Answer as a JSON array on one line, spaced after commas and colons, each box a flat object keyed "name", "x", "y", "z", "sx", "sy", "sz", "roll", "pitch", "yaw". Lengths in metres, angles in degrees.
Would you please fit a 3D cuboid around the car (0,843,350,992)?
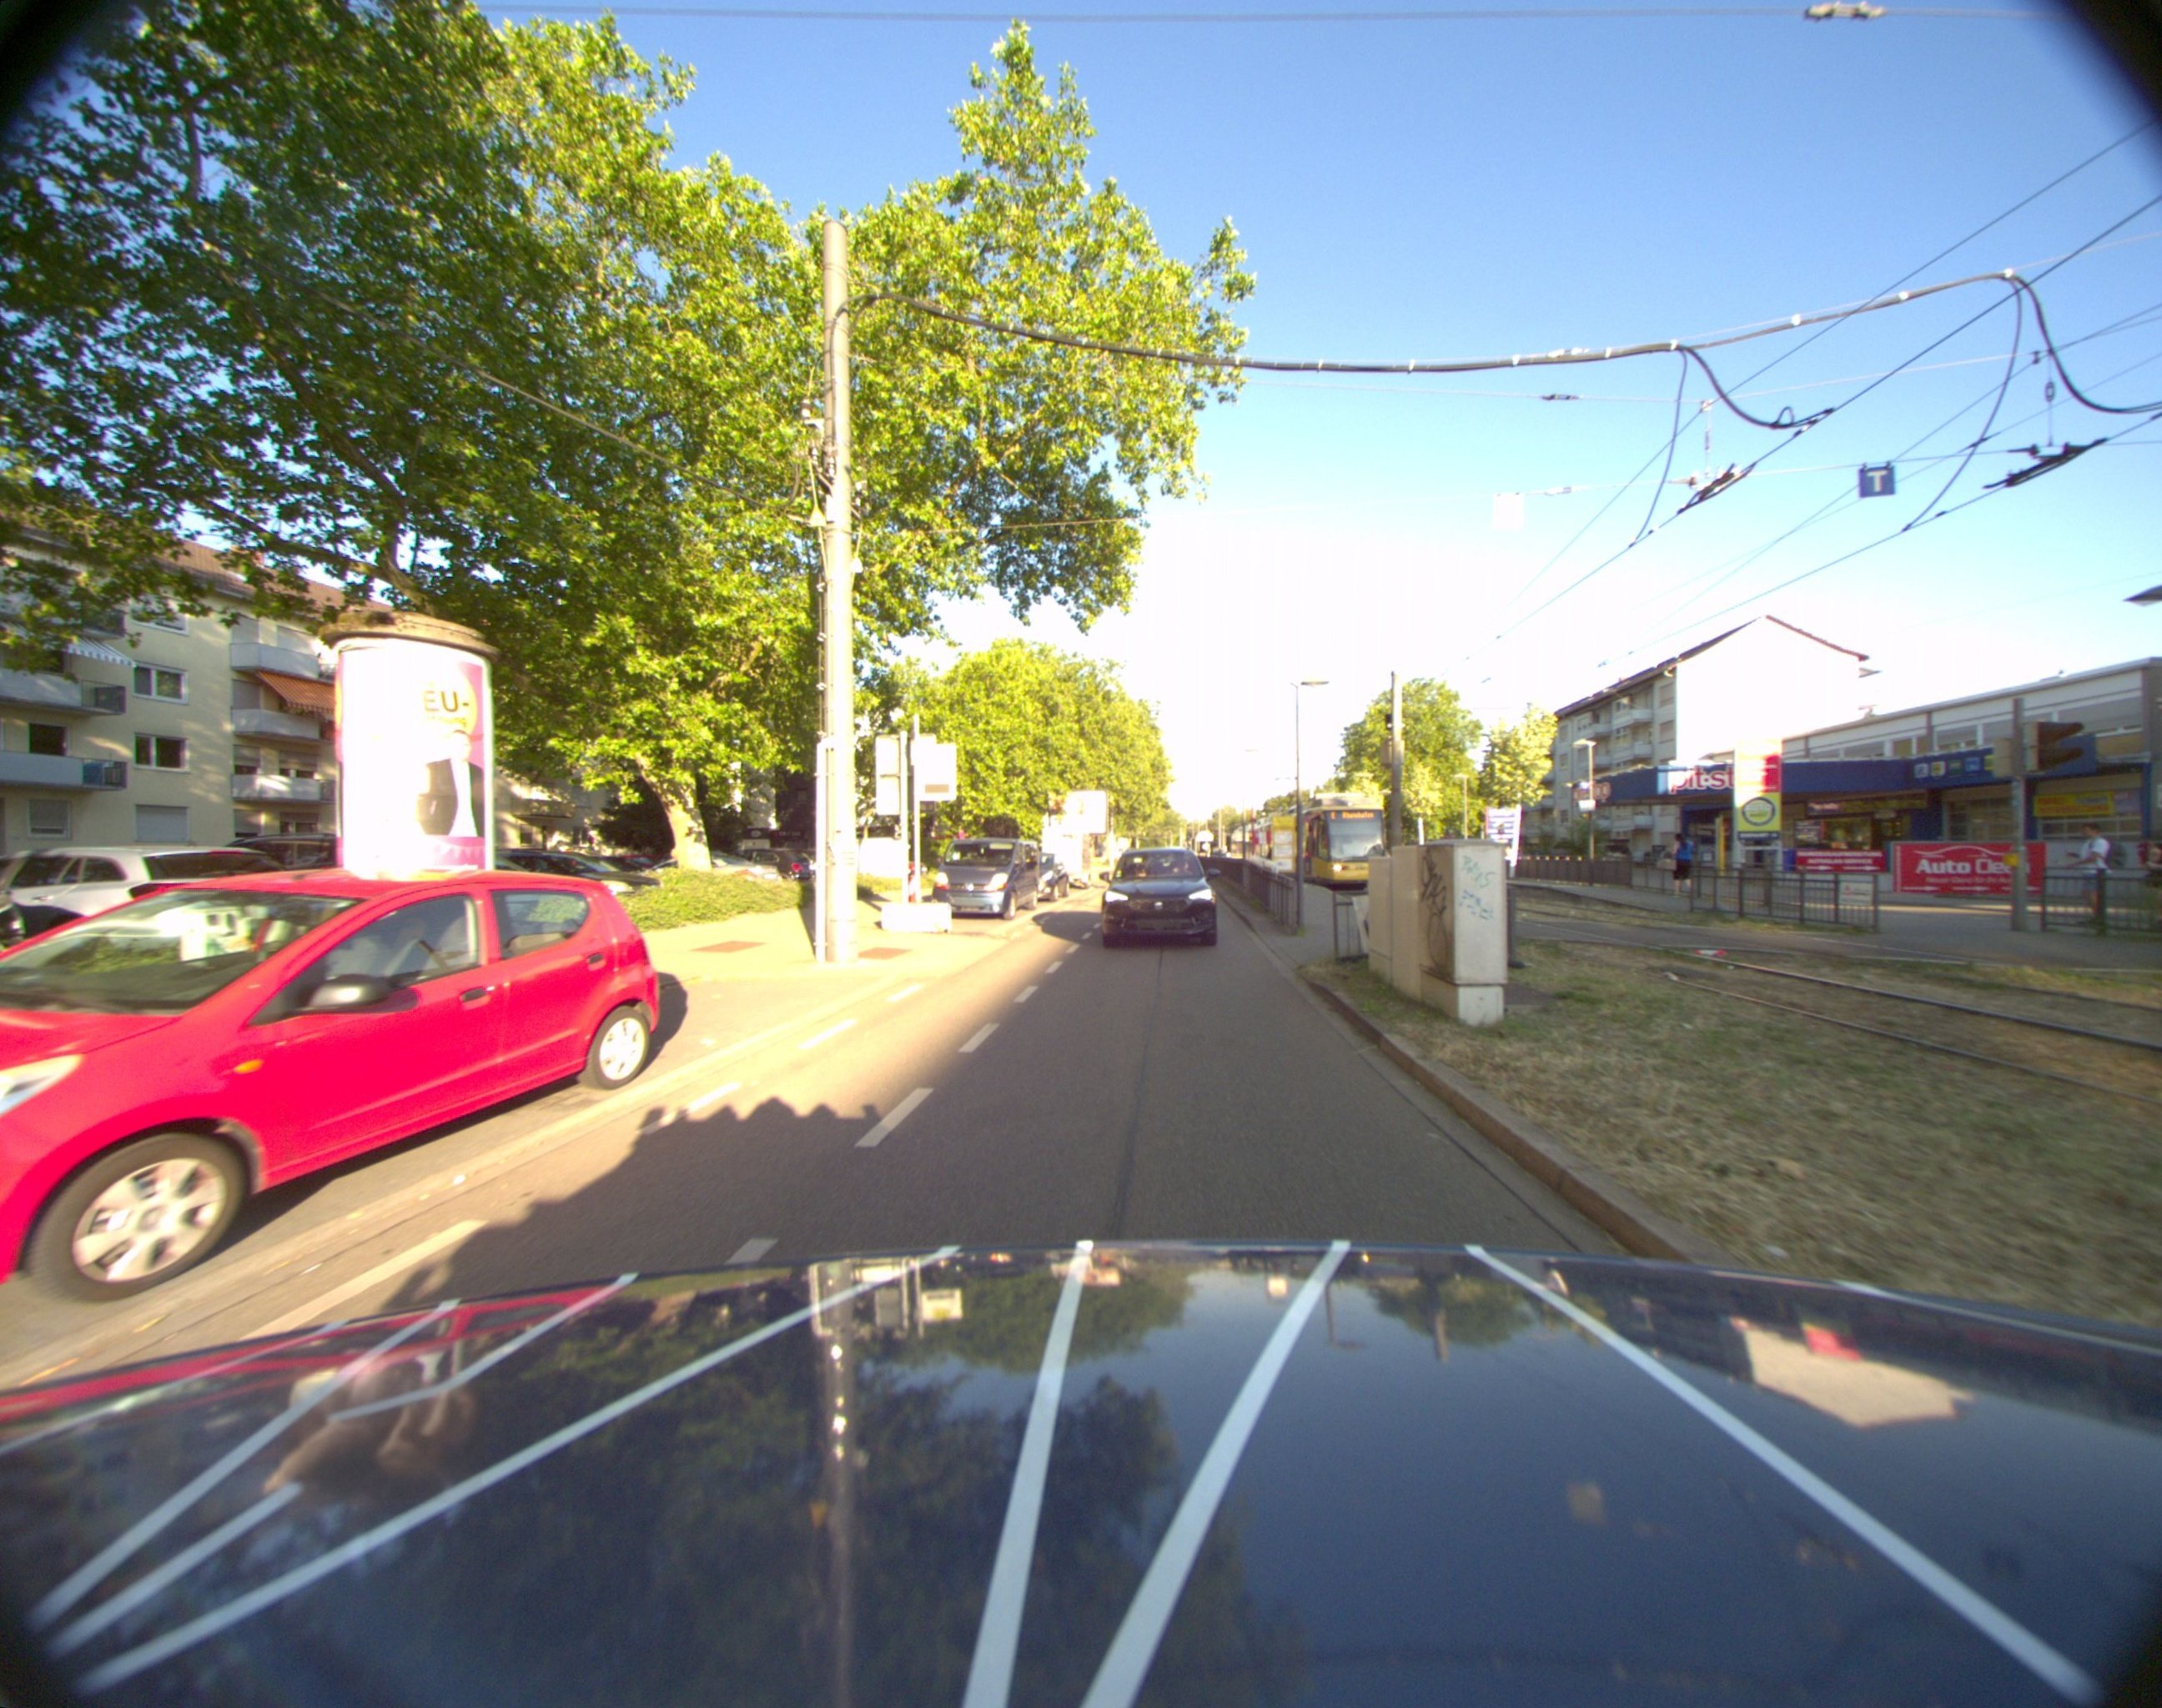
[{"name": "car", "x": -11.413, "y": 0.730, "z": 9.052, "sx": 3.847, "sy": 1.486, "sz": 1.857, "roll": -3, "pitch": 0, "yaw": 8}]

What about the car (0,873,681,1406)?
[{"name": "car", "x": -3.921, "y": 0.925, "z": 3.797, "sx": 1.572, "sy": 1.486, "sz": 3.628, "roll": 2, "pitch": 1, "yaw": 7}]

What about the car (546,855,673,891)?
[{"name": "car", "x": -20.382, "y": 0.815, "z": 32.966, "sx": 4.291, "sy": 1.487, "sz": 2.000, "roll": 0, "pitch": 1, "yaw": 3}]

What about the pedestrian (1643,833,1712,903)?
[{"name": "pedestrian", "x": 14.682, "y": 0.335, "z": 18.731, "sx": 0.936, "sy": 1.644, "sz": 0.926, "roll": -3, "pitch": 1, "yaw": 7}]

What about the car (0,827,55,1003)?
[{"name": "car", "x": -11.843, "y": 0.667, "z": 6.459, "sx": 4.030, "sy": 1.591, "sz": 1.857, "roll": -3, "pitch": 0, "yaw": 6}]

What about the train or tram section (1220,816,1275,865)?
[{"name": "train or tram section", "x": 12.953, "y": -1.047, "z": 59.818, "sx": 3.041, "sy": 3.497, "sz": 10.100, "roll": 1, "pitch": 1, "yaw": 6}]

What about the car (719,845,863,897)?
[{"name": "car", "x": -9.726, "y": 0.564, "z": 25.654, "sx": 4.120, "sy": 1.541, "sz": 1.804, "roll": -3, "pitch": 0, "yaw": 8}]

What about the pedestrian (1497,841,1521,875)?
[{"name": "pedestrian", "x": 24.214, "y": 0.234, "z": 43.017, "sx": 0.754, "sy": 1.871, "sz": 1.001, "roll": -3, "pitch": 1, "yaw": 6}]

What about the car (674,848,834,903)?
[{"name": "car", "x": -9.896, "y": 0.621, "z": 23.123, "sx": 4.119, "sy": 1.590, "sz": 1.804, "roll": 0, "pitch": 1, "yaw": 8}]

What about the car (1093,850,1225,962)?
[{"name": "car", "x": 1.280, "y": 0.776, "z": 13.426, "sx": 1.910, "sy": 1.606, "sz": 4.086, "roll": -3, "pitch": 0, "yaw": 3}]

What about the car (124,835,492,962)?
[{"name": "car", "x": -11.334, "y": 0.631, "z": 11.298, "sx": 3.847, "sy": 1.622, "sz": 1.857, "roll": -2, "pitch": 0, "yaw": 8}]

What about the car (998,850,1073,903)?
[{"name": "car", "x": -1.447, "y": 0.702, "z": 25.524, "sx": 1.799, "sy": 1.621, "sz": 4.002, "roll": 0, "pitch": 0, "yaw": 7}]

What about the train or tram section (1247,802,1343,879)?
[{"name": "train or tram section", "x": 10.868, "y": -0.696, "z": 39.740, "sx": 3.041, "sy": 3.497, "sz": 10.100, "roll": 1, "pitch": 1, "yaw": 6}]

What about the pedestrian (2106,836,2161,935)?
[{"name": "pedestrian", "x": 19.516, "y": 0.553, "z": 13.742, "sx": 0.754, "sy": 1.737, "sz": 0.860, "roll": 0, "pitch": 1, "yaw": 4}]

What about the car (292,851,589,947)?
[{"name": "car", "x": -11.015, "y": 0.766, "z": 13.209, "sx": 3.847, "sy": 1.428, "sz": 1.804, "roll": -2, "pitch": -1, "yaw": 8}]

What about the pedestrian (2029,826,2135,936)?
[{"name": "pedestrian", "x": 17.906, "y": 0.474, "z": 13.614, "sx": 0.859, "sy": 1.921, "sz": 0.755, "roll": 0, "pitch": 1, "yaw": 5}]

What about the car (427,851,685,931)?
[{"name": "car", "x": -10.478, "y": 0.688, "z": 15.307, "sx": 4.119, "sy": 1.486, "sz": 1.804, "roll": 0, "pitch": 1, "yaw": 8}]

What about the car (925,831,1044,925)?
[{"name": "car", "x": -2.261, "y": 0.515, "z": 19.132, "sx": 1.888, "sy": 2.066, "sz": 4.565, "roll": 0, "pitch": 0, "yaw": 7}]

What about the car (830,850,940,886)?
[{"name": "car", "x": -8.587, "y": 0.607, "z": 33.514, "sx": 4.291, "sy": 1.487, "sz": 2.000, "roll": 0, "pitch": 1, "yaw": 3}]

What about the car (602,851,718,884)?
[{"name": "car", "x": -19.654, "y": 0.596, "z": 35.584, "sx": 4.291, "sy": 1.487, "sz": 2.000, "roll": 0, "pitch": 1, "yaw": 3}]

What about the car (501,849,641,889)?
[{"name": "car", "x": -20.350, "y": 0.573, "z": 30.414, "sx": 4.291, "sy": 1.526, "sz": 2.000, "roll": 0, "pitch": 1, "yaw": 3}]

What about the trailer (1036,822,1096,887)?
[{"name": "trailer", "x": -0.557, "y": 0.011, "z": 32.268, "sx": 1.889, "sy": 2.573, "sz": 4.653, "roll": 0, "pitch": 1, "yaw": 7}]

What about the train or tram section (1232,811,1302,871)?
[{"name": "train or tram section", "x": 11.914, "y": -0.867, "z": 49.775, "sx": 3.041, "sy": 3.497, "sz": 10.100, "roll": 1, "pitch": 1, "yaw": 6}]

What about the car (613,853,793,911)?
[{"name": "car", "x": -10.365, "y": 0.736, "z": 20.976, "sx": 4.119, "sy": 1.486, "sz": 1.804, "roll": 0, "pitch": 1, "yaw": 8}]

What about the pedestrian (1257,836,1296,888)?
[{"name": "pedestrian", "x": 5.929, "y": 0.240, "z": 23.053, "sx": 0.918, "sy": 1.541, "sz": 0.789, "roll": -2, "pitch": 1, "yaw": -1}]

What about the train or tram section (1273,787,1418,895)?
[{"name": "train or tram section", "x": 9.835, "y": -0.514, "z": 29.710, "sx": 3.041, "sy": 3.497, "sz": 10.100, "roll": 1, "pitch": 1, "yaw": 6}]

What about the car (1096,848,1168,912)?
[{"name": "car", "x": 1.707, "y": 0.711, "z": 23.639, "sx": 1.889, "sy": 1.656, "sz": 4.854, "roll": -2, "pitch": 1, "yaw": 7}]
